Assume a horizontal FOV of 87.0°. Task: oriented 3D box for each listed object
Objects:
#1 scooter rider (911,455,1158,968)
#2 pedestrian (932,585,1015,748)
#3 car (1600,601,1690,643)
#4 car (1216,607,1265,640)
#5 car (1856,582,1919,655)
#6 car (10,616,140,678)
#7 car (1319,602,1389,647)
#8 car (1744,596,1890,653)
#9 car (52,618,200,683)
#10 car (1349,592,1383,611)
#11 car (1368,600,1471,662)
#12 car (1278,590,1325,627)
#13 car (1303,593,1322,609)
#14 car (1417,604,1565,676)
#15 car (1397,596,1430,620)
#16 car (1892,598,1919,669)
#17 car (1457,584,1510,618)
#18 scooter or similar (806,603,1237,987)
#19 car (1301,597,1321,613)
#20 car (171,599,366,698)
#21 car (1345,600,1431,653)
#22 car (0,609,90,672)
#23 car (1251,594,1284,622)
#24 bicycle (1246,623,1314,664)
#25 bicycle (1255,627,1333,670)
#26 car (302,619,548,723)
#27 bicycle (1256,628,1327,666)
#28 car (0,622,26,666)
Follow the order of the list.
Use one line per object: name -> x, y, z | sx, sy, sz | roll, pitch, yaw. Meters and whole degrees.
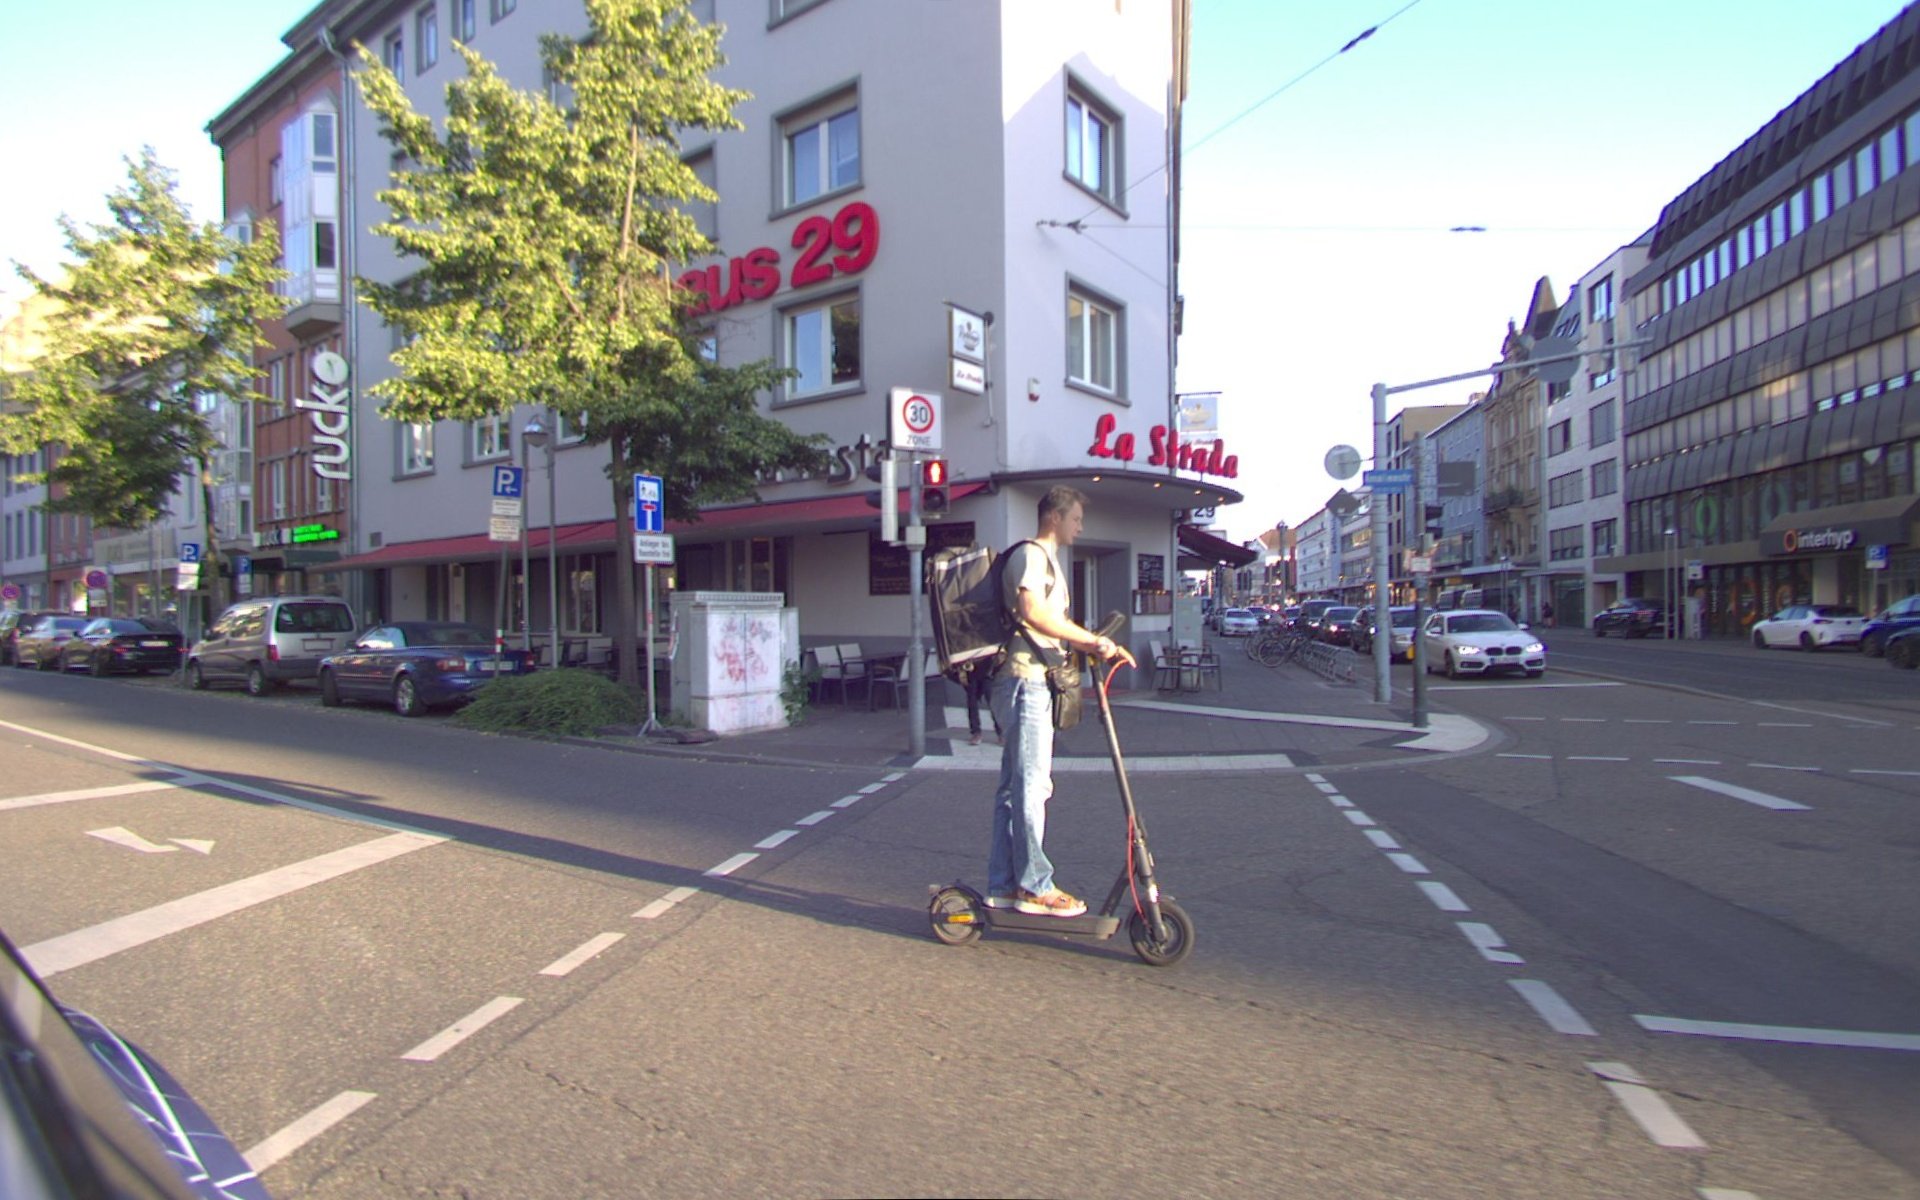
scooter rider -> 0.332, 0.392, 4.101 | 0.782, 1.820, 0.808 | -1, 1, 20
pedestrian -> 0.152, 0.692, 10.746 | 0.791, 1.668, 0.585 | -1, -1, 10
car -> 29.071, 0.899, 43.064 | 1.802, 1.568, 3.984 | -1, 1, 13
car -> 14.020, 1.134, 50.736 | 2.022, 1.571, 4.370 | -1, -1, 12
car -> 25.388, 0.461, 25.817 | 1.896, 1.809, 4.114 | -3, 0, 12
car -> -25.106, 1.280, 28.643 | 4.937, 1.611, 1.872 | -1, -2, 38
car -> 15.361, 0.939, 39.607 | 1.980, 1.652, 3.983 | -1, -1, 13
car -> 26.455, 0.740, 31.416 | 1.685, 1.636, 3.985 | -2, -1, 12
car -> -20.776, 1.191, 25.162 | 4.409, 1.403, 1.783 | 0, 0, 36
car -> 40.098, 0.133, 100.045 | 1.782, 1.761, 3.837 | -1, 1, 0
car -> 12.752, 0.824, 28.333 | 1.982, 1.490, 3.980 | -1, 1, 16
car -> 18.103, 0.443, 53.839 | 1.885, 1.801, 3.924 | -1, 1, 12
car -> 50.273, 0.111, 144.322 | 1.957, 2.209, 4.118 | -1, 1, 12
car -> 11.288, 0.818, 21.808 | 1.898, 1.369, 3.729 | -2, -1, 14
car -> 39.657, 0.662, 88.524 | 1.816, 1.931, 3.985 | -1, 1, 12
car -> 20.739, 0.662, 19.635 | 1.878, 1.491, 4.523 | -2, -1, 14
car -> 33.429, 0.057, 64.726 | 1.980, 2.028, 3.984 | -1, 1, 13
scooter or similar -> 0.244, 0.709, 4.137 | 1.656, 1.361, 0.542 | -1, -1, 20
car -> 48.018, 0.638, 138.489 | 1.954, 2.028, 3.988 | -1, 1, 10
car -> -13.295, 0.856, 19.405 | 3.989, 1.676, 1.701 | 0, 1, 34
car -> 14.206, 0.866, 33.817 | 1.980, 1.652, 3.983 | -1, -1, 13
car -> -30.379, 1.295, 33.076 | 4.938, 1.898, 1.950 | -2, -1, 37
car -> 23.499, 0.598, 77.477 | 1.979, 2.028, 3.986 | -1, 1, 11
bicycle -> 8.905, 1.206, 28.217 | 1.741, 1.079, 0.443 | 0, 1, 7
bicycle -> 8.384, 1.210, 25.454 | 1.807, 1.039, 0.443 | 1, -1, 7
car -> -8.339, 1.002, 15.638 | 4.303, 1.363, 1.634 | 0, -1, 36
bicycle -> 8.773, 1.230, 26.821 | 1.741, 0.956, 0.443 | 0, 1, 7
car -> -35.369, 1.593, 36.585 | 3.836, 1.536, 1.716 | -1, -1, 37
